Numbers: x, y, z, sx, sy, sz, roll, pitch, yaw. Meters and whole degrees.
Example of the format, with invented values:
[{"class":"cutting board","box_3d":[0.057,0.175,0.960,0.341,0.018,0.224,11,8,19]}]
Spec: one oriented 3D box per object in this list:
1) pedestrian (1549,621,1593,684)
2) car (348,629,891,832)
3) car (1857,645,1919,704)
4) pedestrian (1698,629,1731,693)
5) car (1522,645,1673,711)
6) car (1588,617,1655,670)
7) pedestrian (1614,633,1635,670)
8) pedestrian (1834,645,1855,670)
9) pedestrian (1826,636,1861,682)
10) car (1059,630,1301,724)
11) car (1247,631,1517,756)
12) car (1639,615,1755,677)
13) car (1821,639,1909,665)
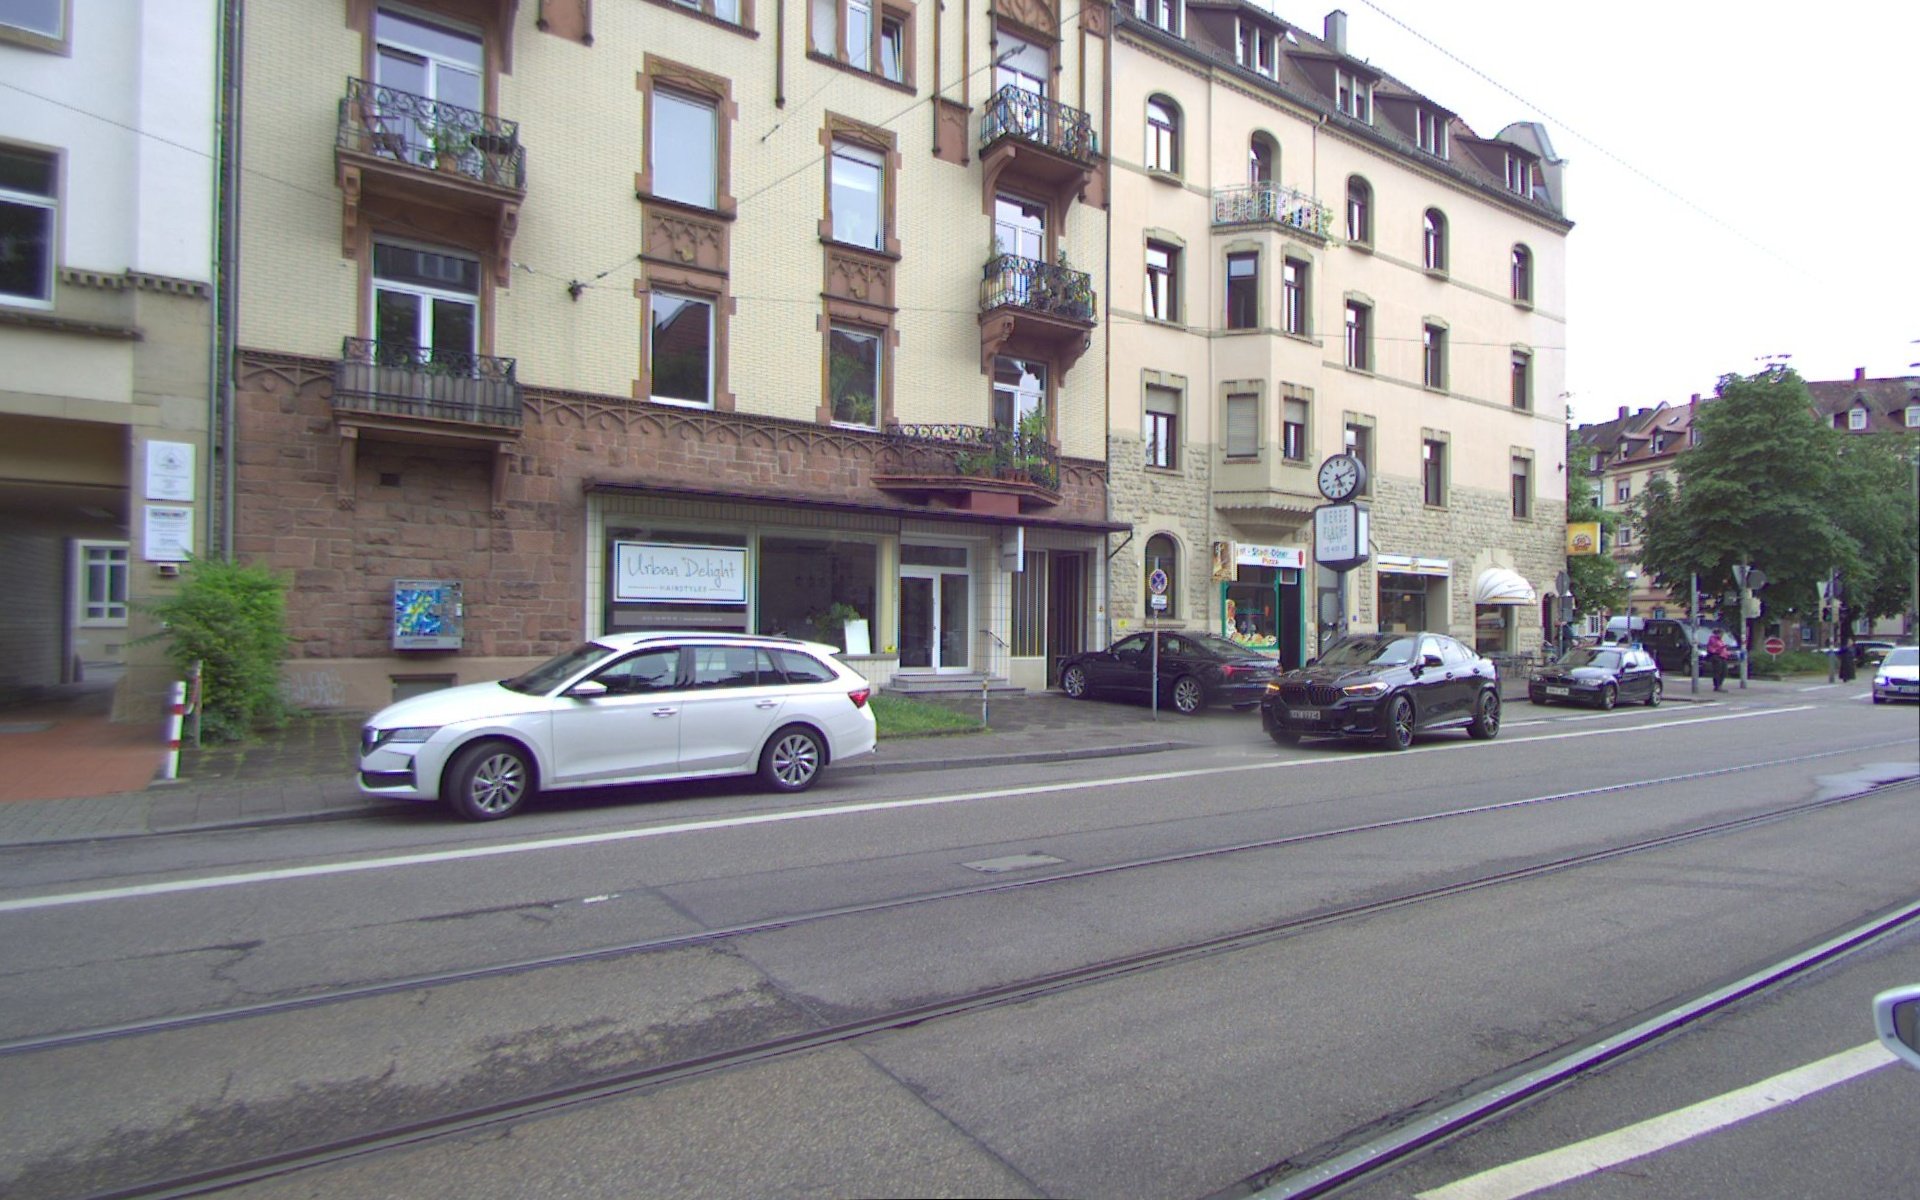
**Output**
[{"class":"pedestrian","box_3d":[20.278,1.740,33.364,0.826,2.040,0.968,1,-2,-32]},{"class":"car","box_3d":[-3.055,1.049,9.462,4.561,1.504,1.737,2,-2,-34]},{"class":"car","box_3d":[24.497,1.857,25.614,3.964,1.429,1.677,2,-3,-38]},{"class":"pedestrian","box_3d":[22.327,1.804,29.739,0.604,1.867,0.619,2,-2,-35]},{"class":"car","box_3d":[15.550,1.838,24.439,4.088,1.379,1.638,2,0,-35]},{"class":"car","box_3d":[34.123,2.235,51.966,2.145,2.560,5.376,0,-2,25]},{"class":"pedestrian","box_3d":[31.589,2.431,47.738,0.686,1.738,0.552,0,-2,18]},{"class":"pedestrian","box_3d":[43.887,2.848,49.857,0.579,1.184,0.844,0,-2,29]},{"class":"pedestrian","box_3d":[32.864,2.182,37.355,0.584,1.685,0.832,1,-2,-31]},{"class":"car","box_3d":[4.087,1.384,19.325,1.863,1.388,4.393,2,0,-36]},{"class":"car","box_3d":[6.606,1.362,15.442,4.850,1.632,1.867,2,-5,-41]},{"class":"car","box_3d":[30.894,1.906,42.328,2.142,2.449,5.384,0,-2,15]},{"class":"car","box_3d":[57.867,3.301,64.304,3.791,1.644,1.725,-1,-2,26]}]
